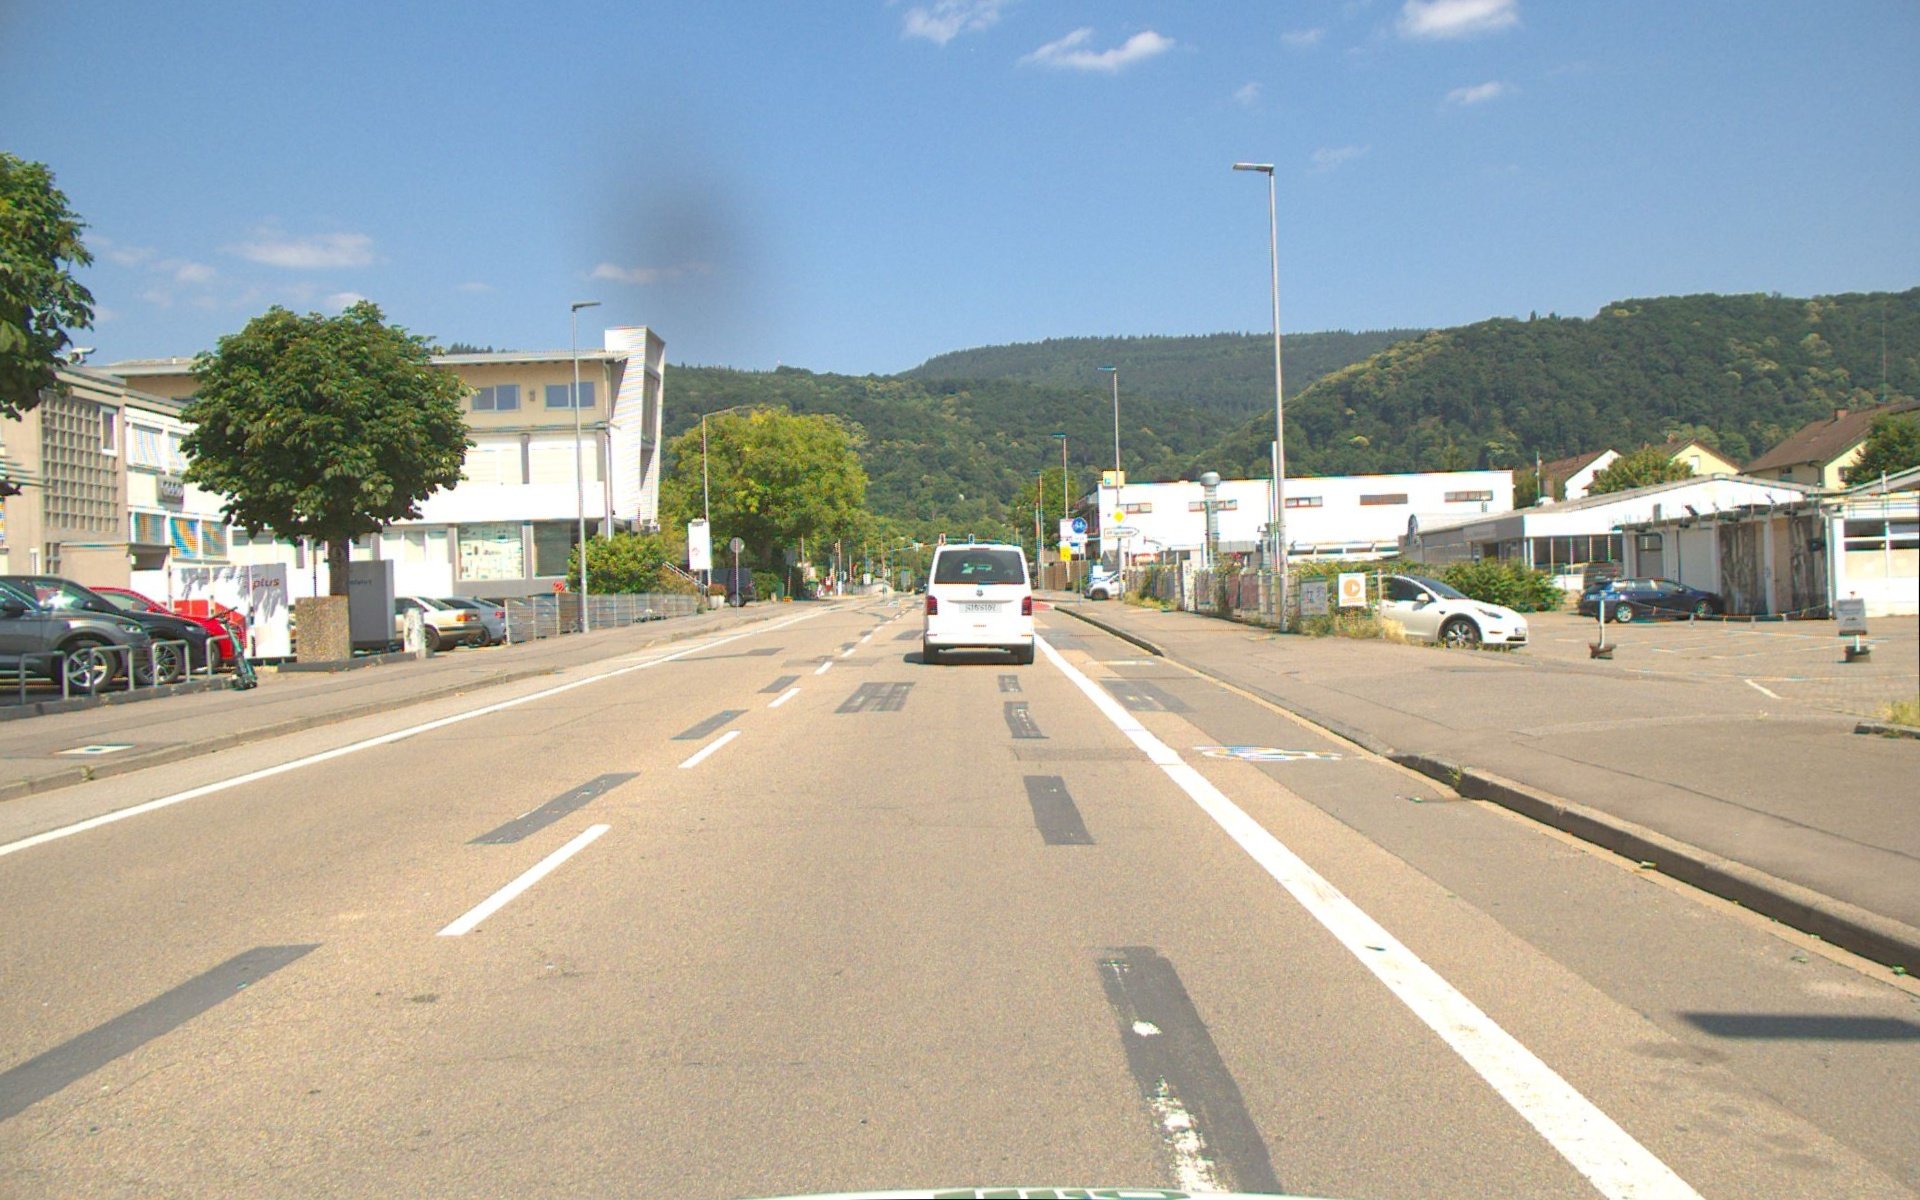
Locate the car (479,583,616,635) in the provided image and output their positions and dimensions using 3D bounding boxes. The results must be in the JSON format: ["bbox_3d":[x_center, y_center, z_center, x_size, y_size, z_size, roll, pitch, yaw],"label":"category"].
[{"bbox_3d":[-14.077,0.289,56.662,4.211,1.585,1.994,-2,1,-4],"label":"car"}]

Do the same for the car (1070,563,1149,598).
[{"bbox_3d":[6.943,-0.906,76.985,3.589,1.510,1.728,-1,1,2],"label":"car"}]

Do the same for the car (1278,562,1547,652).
[{"bbox_3d":[9.212,0.167,33.945,4.959,1.650,2.011,0,-4,43],"label":"car"}]

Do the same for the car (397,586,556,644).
[{"bbox_3d":[-13.594,0.441,46.694,3.907,1.468,1.858,2,-2,-2],"label":"car"}]

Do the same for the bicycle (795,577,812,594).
[{"bbox_3d":[-10.672,-0.973,112.962,1.006,1.137,2.764,1,0,-3],"label":"bicycle"}]

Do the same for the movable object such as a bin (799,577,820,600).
[{"bbox_3d":[-11.094,-0.865,122.013,1.421,1.618,1.305,-3,1,-9],"label":"movable object such as a bin"}]

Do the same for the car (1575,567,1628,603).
[{"bbox_3d":[32.366,-0.793,83.375,1.956,1.675,3.994,0,2,29],"label":"car"}]

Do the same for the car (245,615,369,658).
[{"bbox_3d":[-24.700,1.368,62.652,3.906,1.487,1.859,-1,1,-2],"label":"car"}]

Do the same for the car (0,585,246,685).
[{"bbox_3d":[-14.847,0.568,29.146,3.947,1.577,1.840,-2,1,-31],"label":"car"}]

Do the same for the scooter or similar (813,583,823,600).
[{"bbox_3d":[-9.965,-0.581,116.224,0.634,1.147,1.621,1,0,-6],"label":"scooter or similar"}]

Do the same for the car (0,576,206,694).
[{"bbox_3d":[-14.250,0.511,25.612,4.430,1.737,1.887,0,0,-36],"label":"car"}]

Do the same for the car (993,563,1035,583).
[{"bbox_3d":[5.358,-2.687,162.862,3.902,1.806,2.002,-2,0,6],"label":"car"}]

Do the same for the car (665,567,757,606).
[{"bbox_3d":[-12.691,-0.704,84.509,4.477,1.898,2.090,-1,1,-5],"label":"car"}]

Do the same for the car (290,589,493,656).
[{"bbox_3d":[-14.340,0.553,41.903,4.433,1.483,1.900,-2,1,-2],"label":"car"}]

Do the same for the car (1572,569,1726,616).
[{"bbox_3d":[22.771,-0.253,54.765,4.238,1.422,2.120,-1,1,3],"label":"car"}]

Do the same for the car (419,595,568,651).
[{"bbox_3d":[-13.892,0.707,49.417,3.908,1.516,1.857,2,-2,-4],"label":"car"}]

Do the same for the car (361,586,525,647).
[{"bbox_3d":[-13.837,0.453,44.458,3.813,1.470,1.822,2,-2,-4],"label":"car"}]

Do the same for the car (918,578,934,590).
[{"bbox_3d":[-4.308,-1.983,208.992,1.953,1.394,4.327,-2,1,0],"label":"car"}]

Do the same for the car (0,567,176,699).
[{"bbox_3d":[-13.411,0.459,22.718,4.529,1.726,1.836,-2,1,-36],"label":"car"}]

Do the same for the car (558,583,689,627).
[{"bbox_3d":[-13.127,0.176,64.705,4.643,1.506,2.047,-2,1,-2],"label":"car"}]

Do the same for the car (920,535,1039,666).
[{"bbox_3d":[0.267,-0.010,29.024,1.895,2.095,4.543,1,1,-2],"label":"car"}]

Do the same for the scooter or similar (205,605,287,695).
[{"bbox_3d":[-10.781,0.735,25.024,0.730,1.269,1.488,-2,1,-8],"label":"scooter or similar"}]
